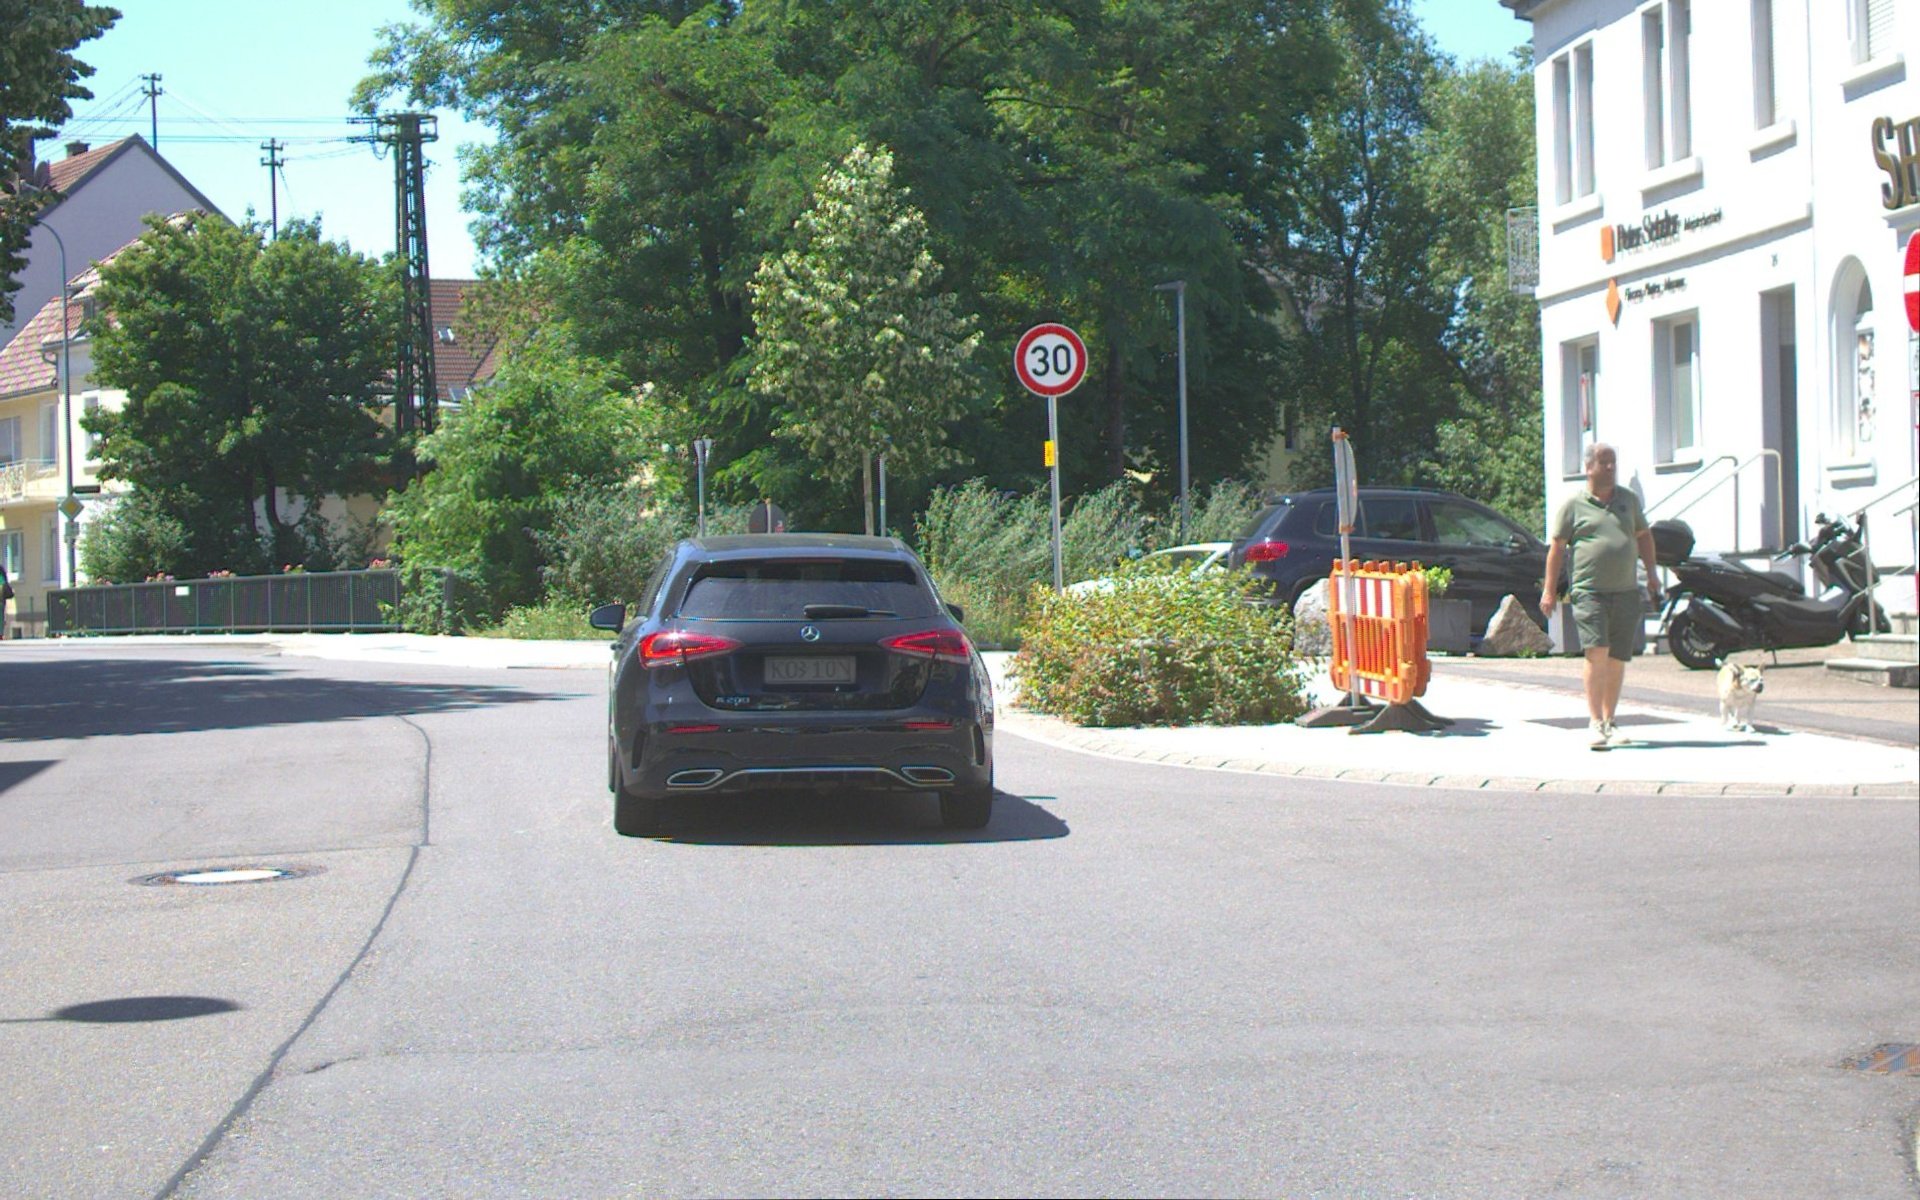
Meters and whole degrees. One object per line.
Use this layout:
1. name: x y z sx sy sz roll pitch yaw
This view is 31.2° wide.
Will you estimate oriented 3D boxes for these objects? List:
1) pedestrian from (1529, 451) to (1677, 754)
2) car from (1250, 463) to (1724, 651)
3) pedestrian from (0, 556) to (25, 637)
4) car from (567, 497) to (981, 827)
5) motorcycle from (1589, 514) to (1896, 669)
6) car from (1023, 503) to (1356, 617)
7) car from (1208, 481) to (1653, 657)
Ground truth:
1. pedestrian: 3.896 -0.003 20.880 0.746 1.790 0.844 -1 2 2
2. car: 4.926 -0.389 32.449 4.074 1.710 1.856 0 0 -7
3. pedestrian: -20.802 -0.075 74.633 0.701 1.735 0.661 -1 0 42
4. car: -0.889 0.325 17.465 1.827 1.437 4.000 -1 -1 -1
5. motorcycle: 6.597 -0.083 29.052 2.376 1.271 0.856 0 1 -6
6. car: 3.003 -0.513 44.535 4.191 1.345 1.860 0 3 -42
7. car: 4.666 -0.301 34.396 4.074 1.710 1.856 0 0 -7
